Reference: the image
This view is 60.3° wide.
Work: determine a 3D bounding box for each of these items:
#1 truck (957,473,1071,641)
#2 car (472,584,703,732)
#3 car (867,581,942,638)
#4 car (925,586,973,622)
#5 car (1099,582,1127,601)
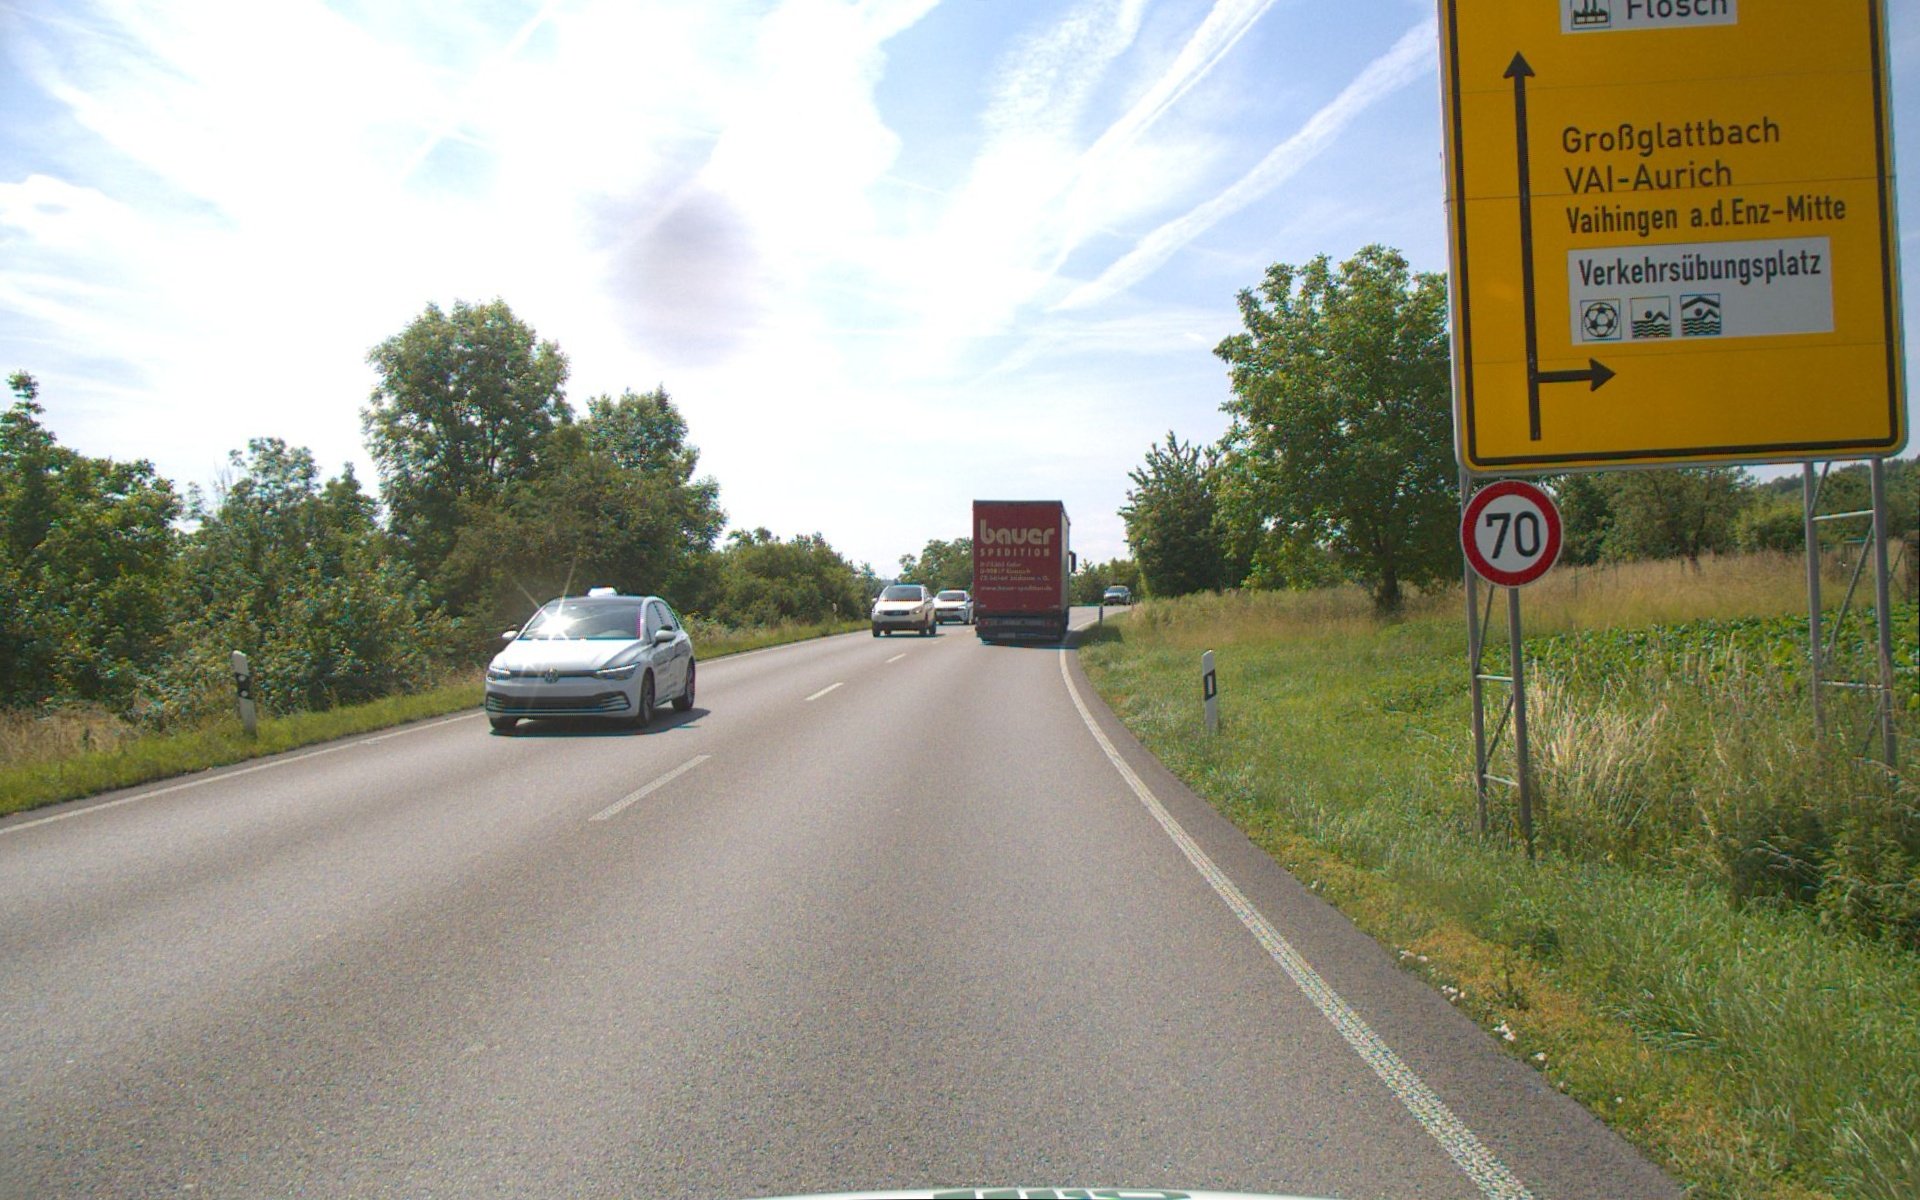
[{"bbox_3d":[1.902,-1.139,51.584,3.047,4.585,12.173,1,0,4],"label":"truck"},{"bbox_3d":[-4.262,0.597,19.575,1.754,1.548,4.160,-1,0,0],"label":"car"},{"bbox_3d":[-1.770,0.268,54.371,1.795,1.644,4.365,-5,0,6],"label":"car"},{"bbox_3d":[-0.433,0.136,71.144,1.714,1.438,3.775,-1,1,5],"label":"car"},{"bbox_3d":[12.948,-0.716,139.479,1.951,1.550,4.004,-1,1,11],"label":"car"}]
